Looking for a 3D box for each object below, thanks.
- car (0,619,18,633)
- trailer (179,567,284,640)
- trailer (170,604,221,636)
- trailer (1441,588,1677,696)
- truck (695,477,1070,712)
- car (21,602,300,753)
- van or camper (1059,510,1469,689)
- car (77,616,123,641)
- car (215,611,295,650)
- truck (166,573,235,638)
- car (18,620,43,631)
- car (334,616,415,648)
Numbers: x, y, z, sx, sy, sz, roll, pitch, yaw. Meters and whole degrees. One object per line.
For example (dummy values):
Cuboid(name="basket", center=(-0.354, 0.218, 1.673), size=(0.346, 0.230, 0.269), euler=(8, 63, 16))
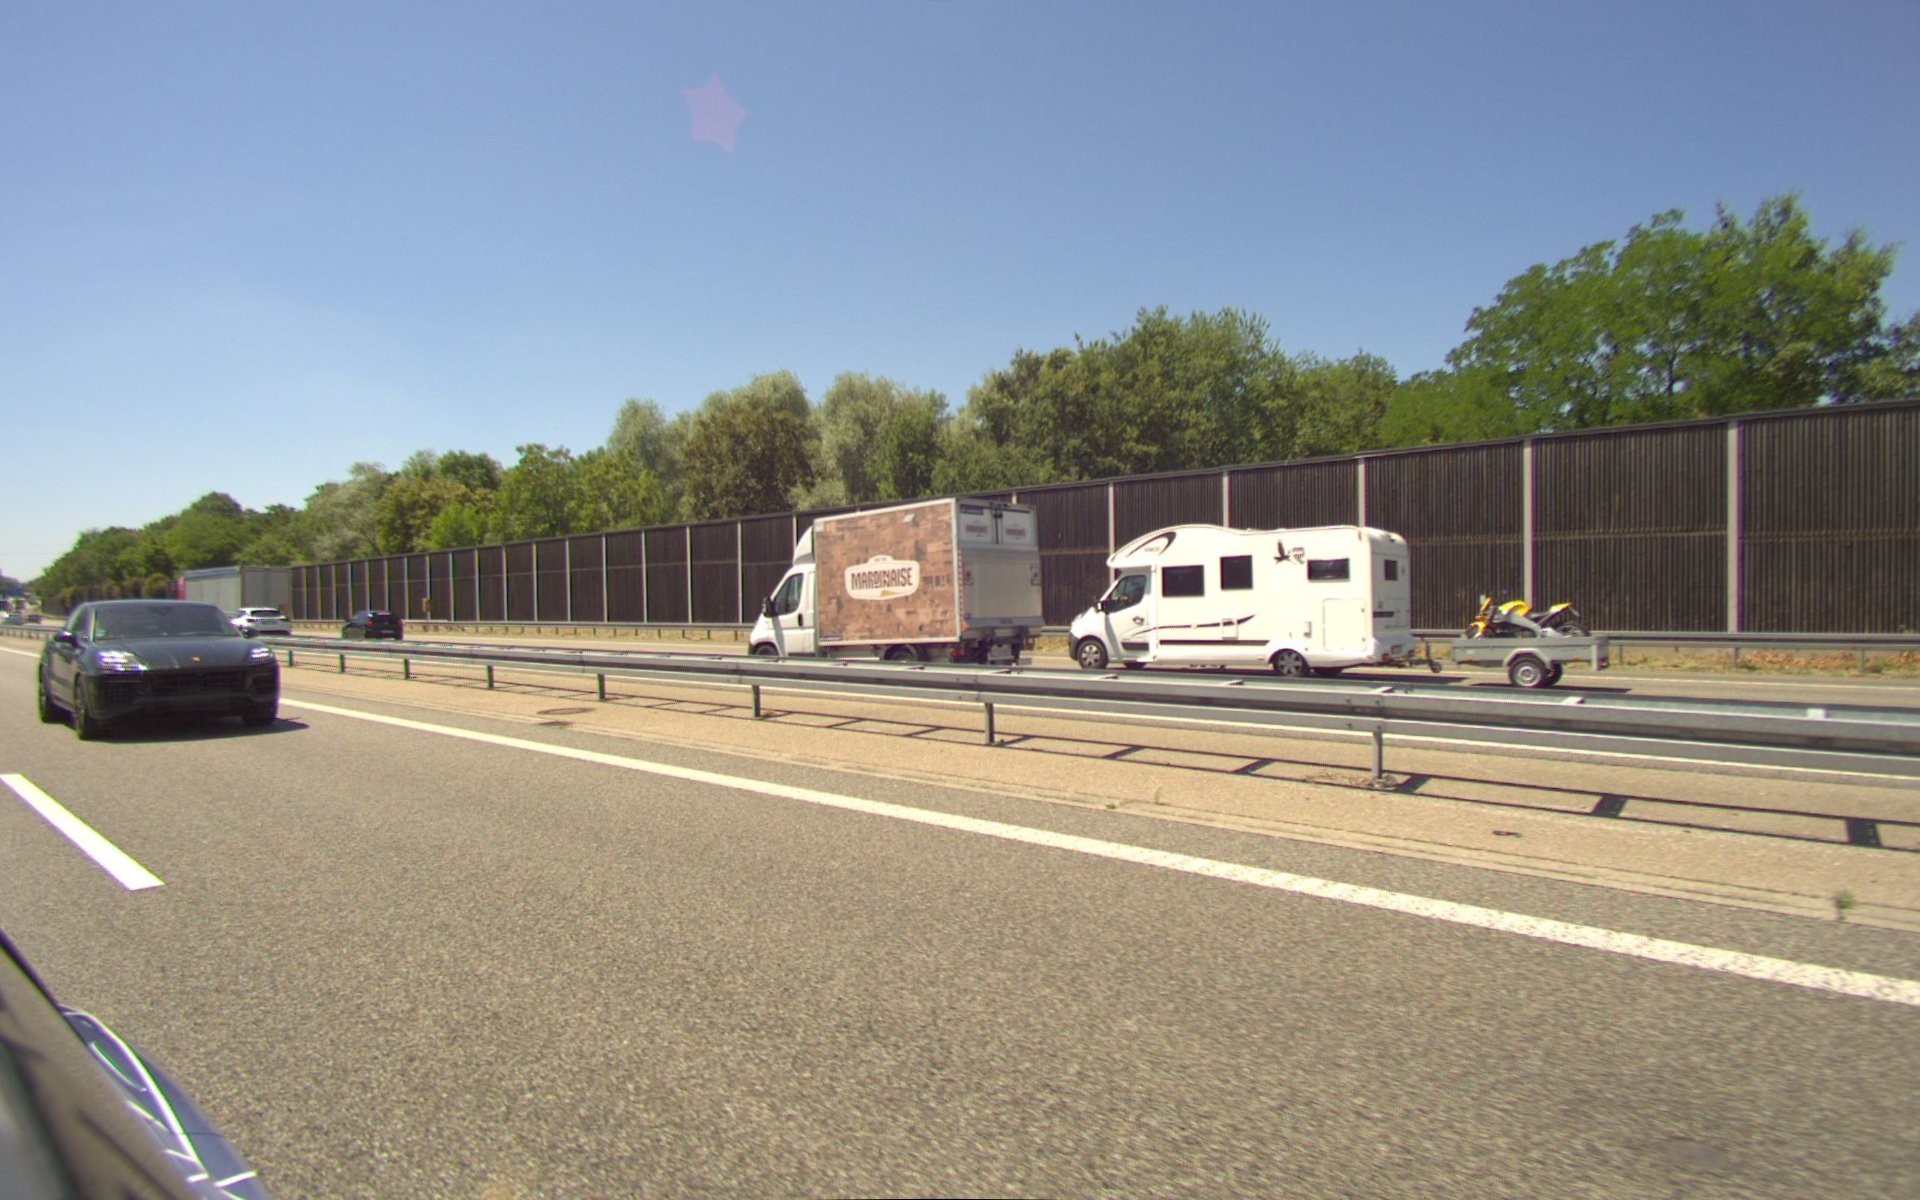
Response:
Cuboid(name="car", center=(-110.531, 3.009, 117.119), size=(4.417, 1.532, 1.879), euler=(-1, -1, 42))
Cuboid(name="trailer", center=(-45.131, 0.293, 62.410), size=(14.205, 4.107, 2.316), euler=(-1, -1, 42))
Cuboid(name="trailer", center=(-62.409, 1.627, 82.537), size=(6.265, 2.495, 2.109), euler=(-1, -1, 41))
Cuboid(name="trailer", center=(9.740, 0.647, 16.527), size=(3.090, 1.590, 1.709), euler=(-1, -1, 40))
Cuboid(name="truck", center=(-1.616, -0.043, 17.759), size=(6.915, 3.378, 2.385), euler=(-1, -1, 41))
Cuboid(name="car", center=(-10.975, 0.884, 13.693), size=(5.770, 1.637, 2.022), euler=(-1, -1, 42))
Cuboid(name="van or camper", center=(5.699, 0.048, 19.954), size=(7.370, 2.936, 2.532), euler=(-1, -1, 40))
Cuboid(name="car", center=(-56.660, 1.828, 66.640), size=(4.244, 1.555, 1.786), euler=(-1, 0, 42))
Cuboid(name="car", center=(-30.600, 1.291, 43.885), size=(4.581, 1.558, 1.899), euler=(-1, 0, 42))
Cuboid(name="truck", center=(-50.566, 0.390, 67.317), size=(7.151, 4.107, 2.333), euler=(-1, -1, 42))
Cuboid(name="car", center=(-130.618, 3.556, 142.190), size=(5.982, 1.534, 2.101), euler=(-1, -1, 43))
Cuboid(name="car", center=(-27.063, 1.431, 46.729), size=(4.580, 1.385, 1.899), euler=(-1, 0, 41))
